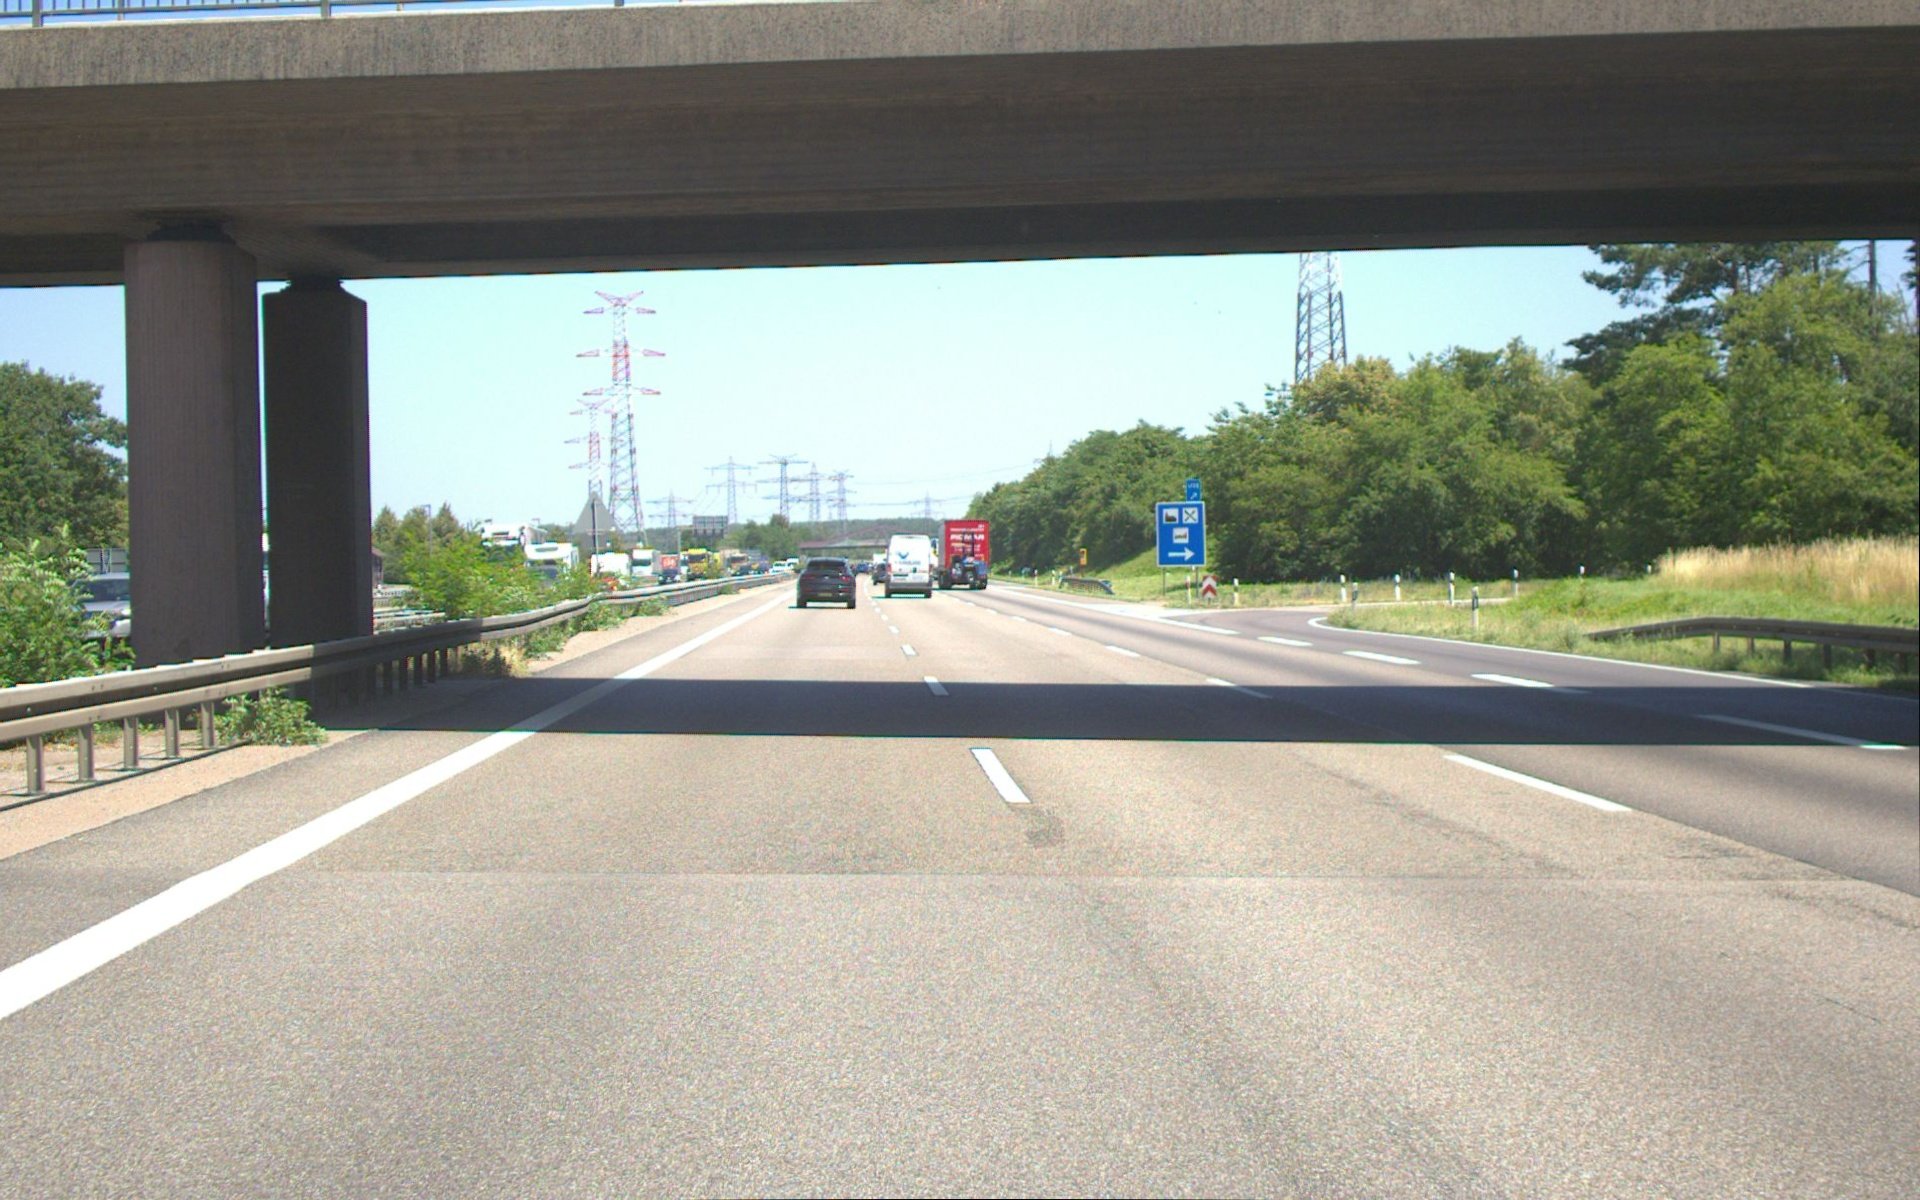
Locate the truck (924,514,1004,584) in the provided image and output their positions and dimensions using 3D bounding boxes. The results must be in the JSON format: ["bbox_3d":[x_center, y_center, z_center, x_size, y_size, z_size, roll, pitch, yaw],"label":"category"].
[{"bbox_3d":[0.166,-3.024,205.049,4.331,3.928,16.078,1,1,-1],"label":"truck"}]

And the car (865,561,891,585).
[{"bbox_3d":[-5.693,-1.879,239.024,1.747,1.628,4.004,1,1,-2],"label":"car"}]

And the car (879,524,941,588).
[{"bbox_3d":[-2.264,-1.967,154.451,2.621,2.750,6.097,1,1,-2],"label":"car"}]

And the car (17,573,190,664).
[{"bbox_3d":[-16.658,0.328,67.142,2.227,1.605,5.060,-2,1,-2],"label":"car"}]

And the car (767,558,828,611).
[{"bbox_3d":[-5.496,-0.538,116.788,1.993,1.744,4.000,1,1,-2],"label":"car"}]
